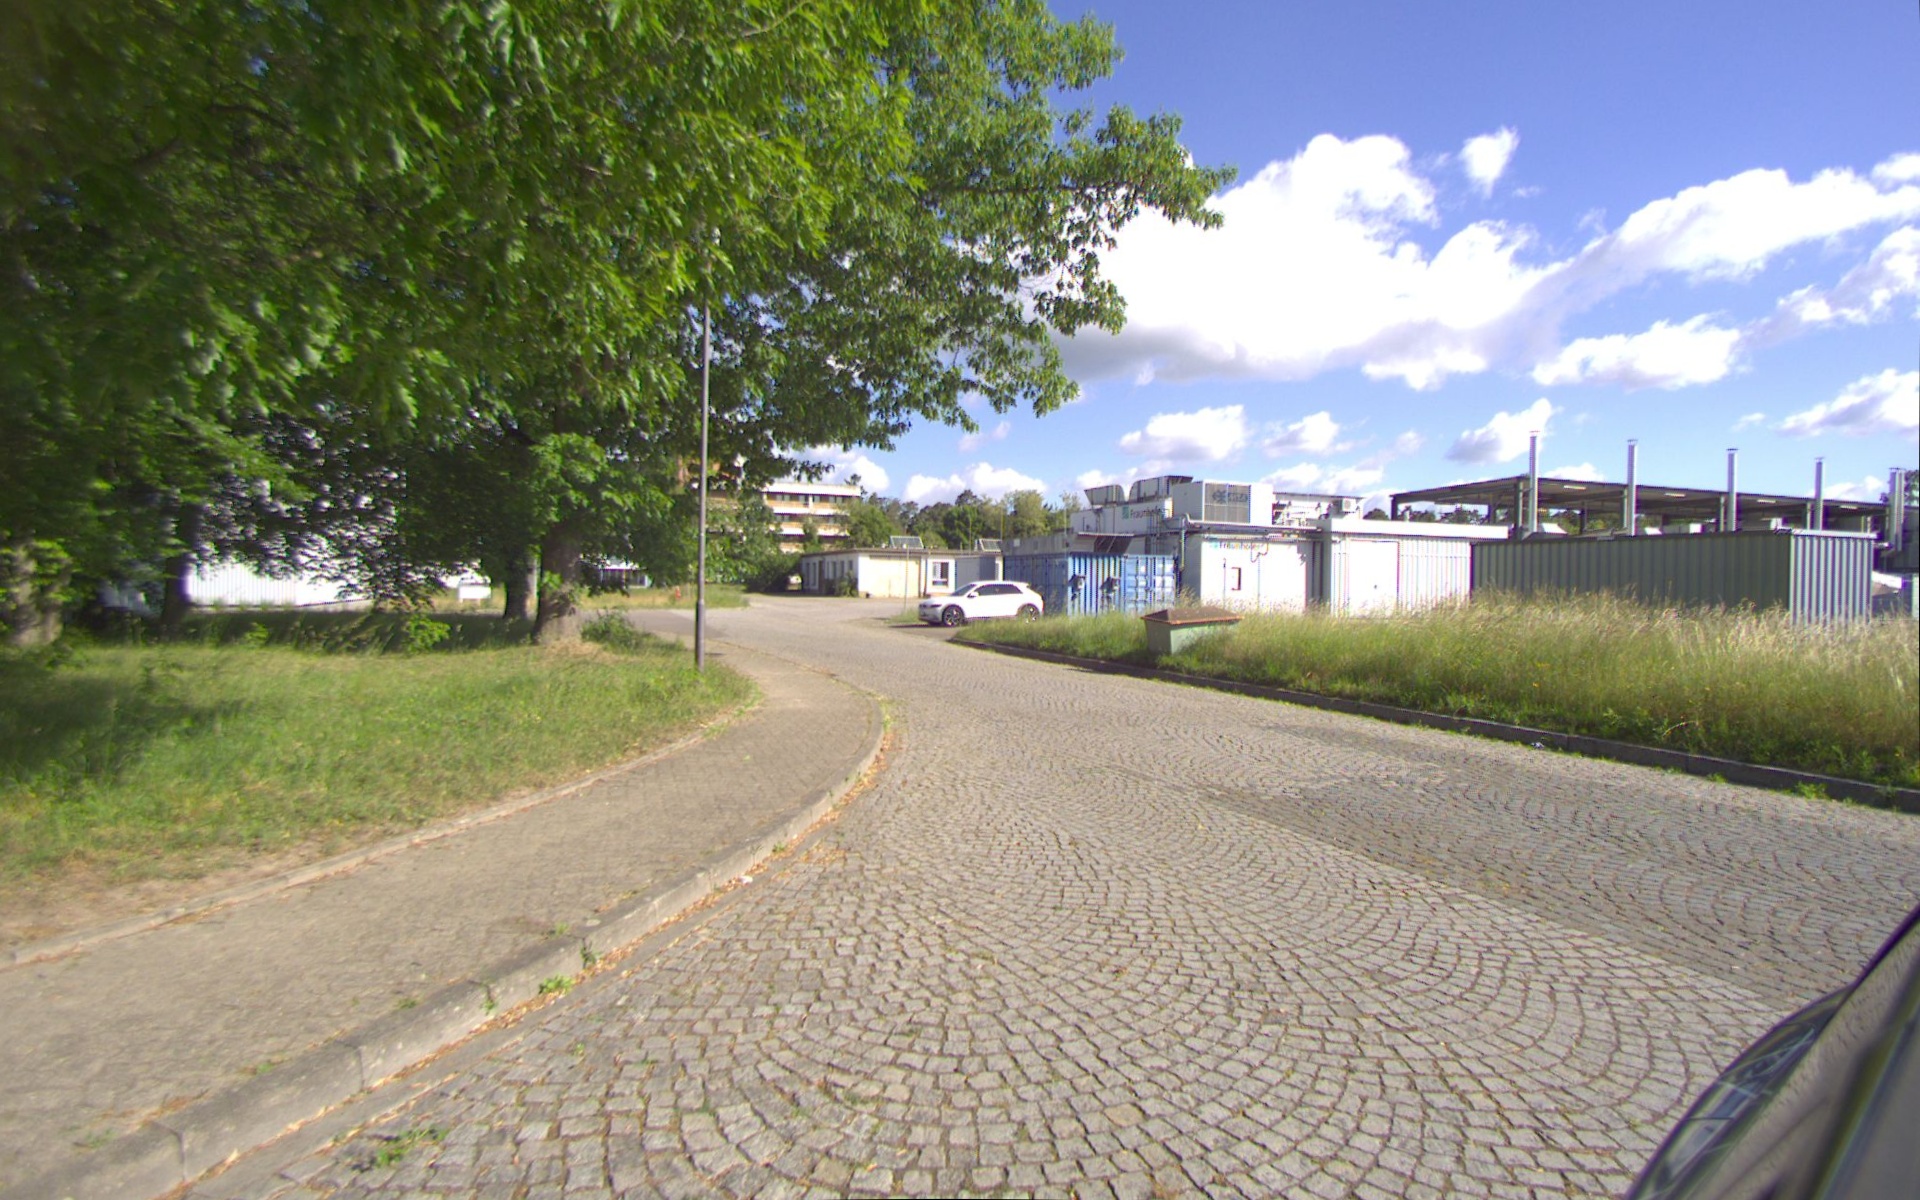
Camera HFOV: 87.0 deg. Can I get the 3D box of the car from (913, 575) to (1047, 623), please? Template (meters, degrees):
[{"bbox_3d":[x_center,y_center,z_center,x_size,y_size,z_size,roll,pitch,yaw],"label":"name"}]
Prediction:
[{"bbox_3d":[0.716,-0.056,36.210,4.425,1.613,1.828,0,0,-22],"label":"car"}]
